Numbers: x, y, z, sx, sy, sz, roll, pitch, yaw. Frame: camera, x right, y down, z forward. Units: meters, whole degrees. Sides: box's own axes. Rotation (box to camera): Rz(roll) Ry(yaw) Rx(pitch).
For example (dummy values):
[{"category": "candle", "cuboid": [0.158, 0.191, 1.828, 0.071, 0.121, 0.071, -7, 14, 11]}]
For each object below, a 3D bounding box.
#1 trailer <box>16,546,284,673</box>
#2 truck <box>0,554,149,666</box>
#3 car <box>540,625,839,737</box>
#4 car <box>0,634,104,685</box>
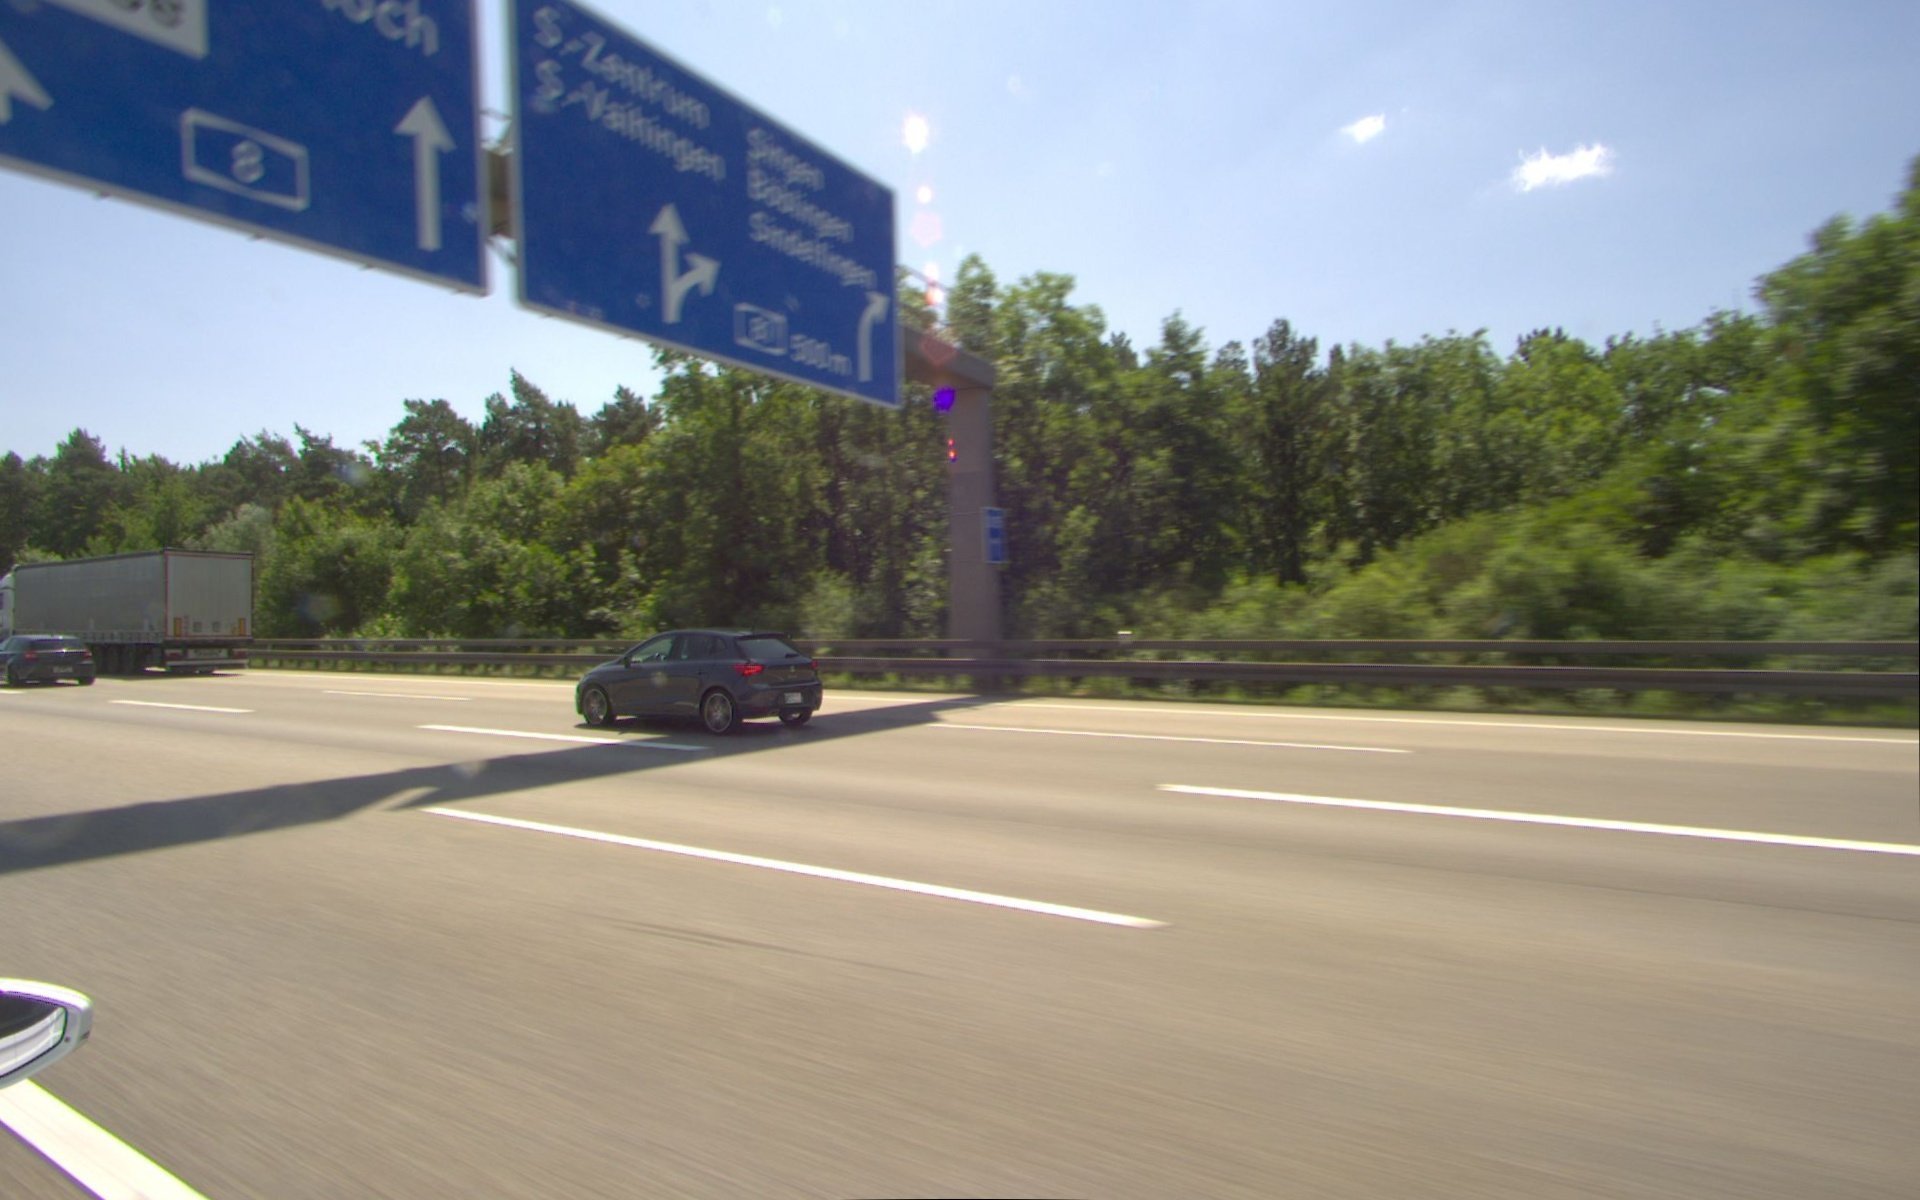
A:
[{"category": "trailer", "cuboid": [-29.826, 0.436, 36.508, 13.689, 3.981, 3.282, -1, -1, 32]}, {"category": "truck", "cuboid": [-35.735, 0.466, 40.160, 5.902, 4.159, 3.249, -1, -1, 32]}, {"category": "car", "cuboid": [-4.099, 1.112, 14.895, 4.568, 1.457, 1.640, -1, -2, 32]}, {"category": "car", "cuboid": [-25.865, 1.612, 28.094, 4.229, 1.290, 1.667, -1, -1, 32]}]
